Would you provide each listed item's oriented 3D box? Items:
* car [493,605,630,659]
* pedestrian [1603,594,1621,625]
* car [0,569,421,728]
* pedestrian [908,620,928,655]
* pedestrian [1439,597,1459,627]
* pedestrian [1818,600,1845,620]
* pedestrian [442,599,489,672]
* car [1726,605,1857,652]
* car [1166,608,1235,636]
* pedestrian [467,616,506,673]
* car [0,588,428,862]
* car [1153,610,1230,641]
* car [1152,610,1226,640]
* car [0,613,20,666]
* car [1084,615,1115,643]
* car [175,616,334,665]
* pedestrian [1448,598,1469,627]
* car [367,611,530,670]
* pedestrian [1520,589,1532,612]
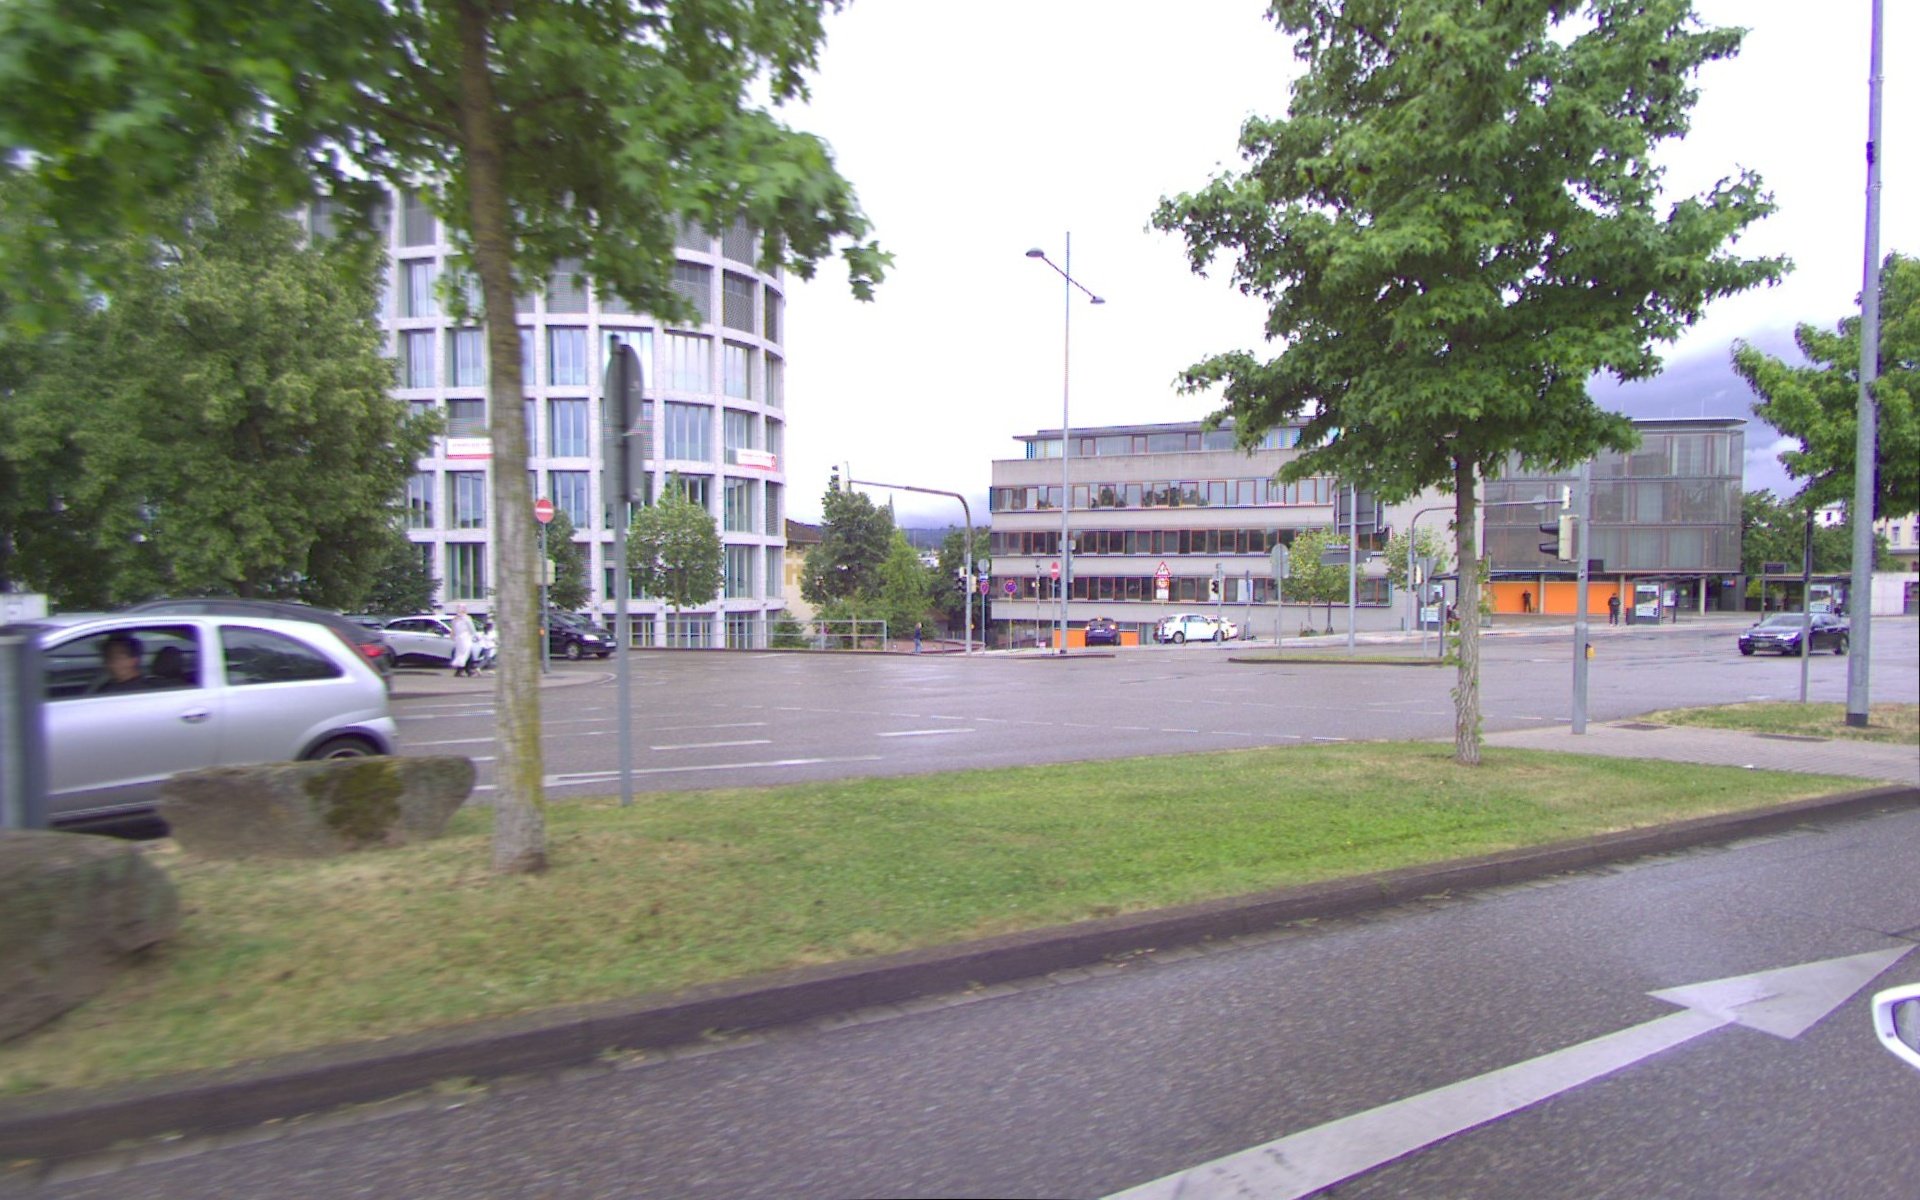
[{"bbox_3d":[-12.642,0.984,31.951,3.760,1.589,1.729,0,0,14],"label":"car"},{"bbox_3d":[35.901,0.518,55.298,0.752,1.706,0.473,-1,0,-22],"label":"pedestrian"},{"bbox_3d":[-9.420,0.581,12.295,4.806,1.684,1.897,3,-1,-33],"label":"car"},{"bbox_3d":[-1.981,1.735,47.092,0.697,1.604,0.668,0,1,-31],"label":"pedestrian"},{"bbox_3d":[23.957,0.587,49.227,0.619,1.488,0.675,0,1,-31],"label":"pedestrian"},{"bbox_3d":[58.590,0.687,67.545,0.834,1.285,0.977,0,4,-8],"label":"pedestrian"},{"bbox_3d":[-10.977,0.780,22.296,0.620,1.590,0.652,0,-2,30],"label":"pedestrian"},{"bbox_3d":[29.163,0.956,35.199,4.858,1.524,1.839,0,1,-28],"label":"car"},{"bbox_3d":[13.636,1.244,57.064,3.711,1.515,1.767,0,0,10],"label":"car"},{"bbox_3d":[-11.154,1.041,23.664,0.626,1.309,0.645,3,-2,-42],"label":"pedestrian"},{"bbox_3d":[-5.618,0.681,6.237,1.607,1.468,3.871,0,-1,27],"label":"car"},{"bbox_3d":[11.836,1.310,51.475,3.521,1.515,1.628,0,0,-14],"label":"car"},{"bbox_3d":[12.234,1.307,53.629,3.521,1.515,1.628,0,0,-14],"label":"car"},{"bbox_3d":[-32.874,1.278,32.497,3.577,1.721,1.729,0,0,8],"label":"car"},{"bbox_3d":[7.443,1.505,53.792,1.453,1.369,3.584,1,0,6],"label":"car"},{"bbox_3d":[-24.475,1.366,34.911,4.487,1.589,1.729,0,0,6],"label":"car"},{"bbox_3d":[24.600,0.612,49.568,0.712,1.411,0.675,0,1,-31],"label":"pedestrian"},{"bbox_3d":[-15.060,1.152,29.628,4.058,1.589,1.888,0,0,16],"label":"car"},{"bbox_3d":[42.163,0.048,74.855,0.630,1.706,0.475,-1,0,2],"label":"pedestrian"}]
